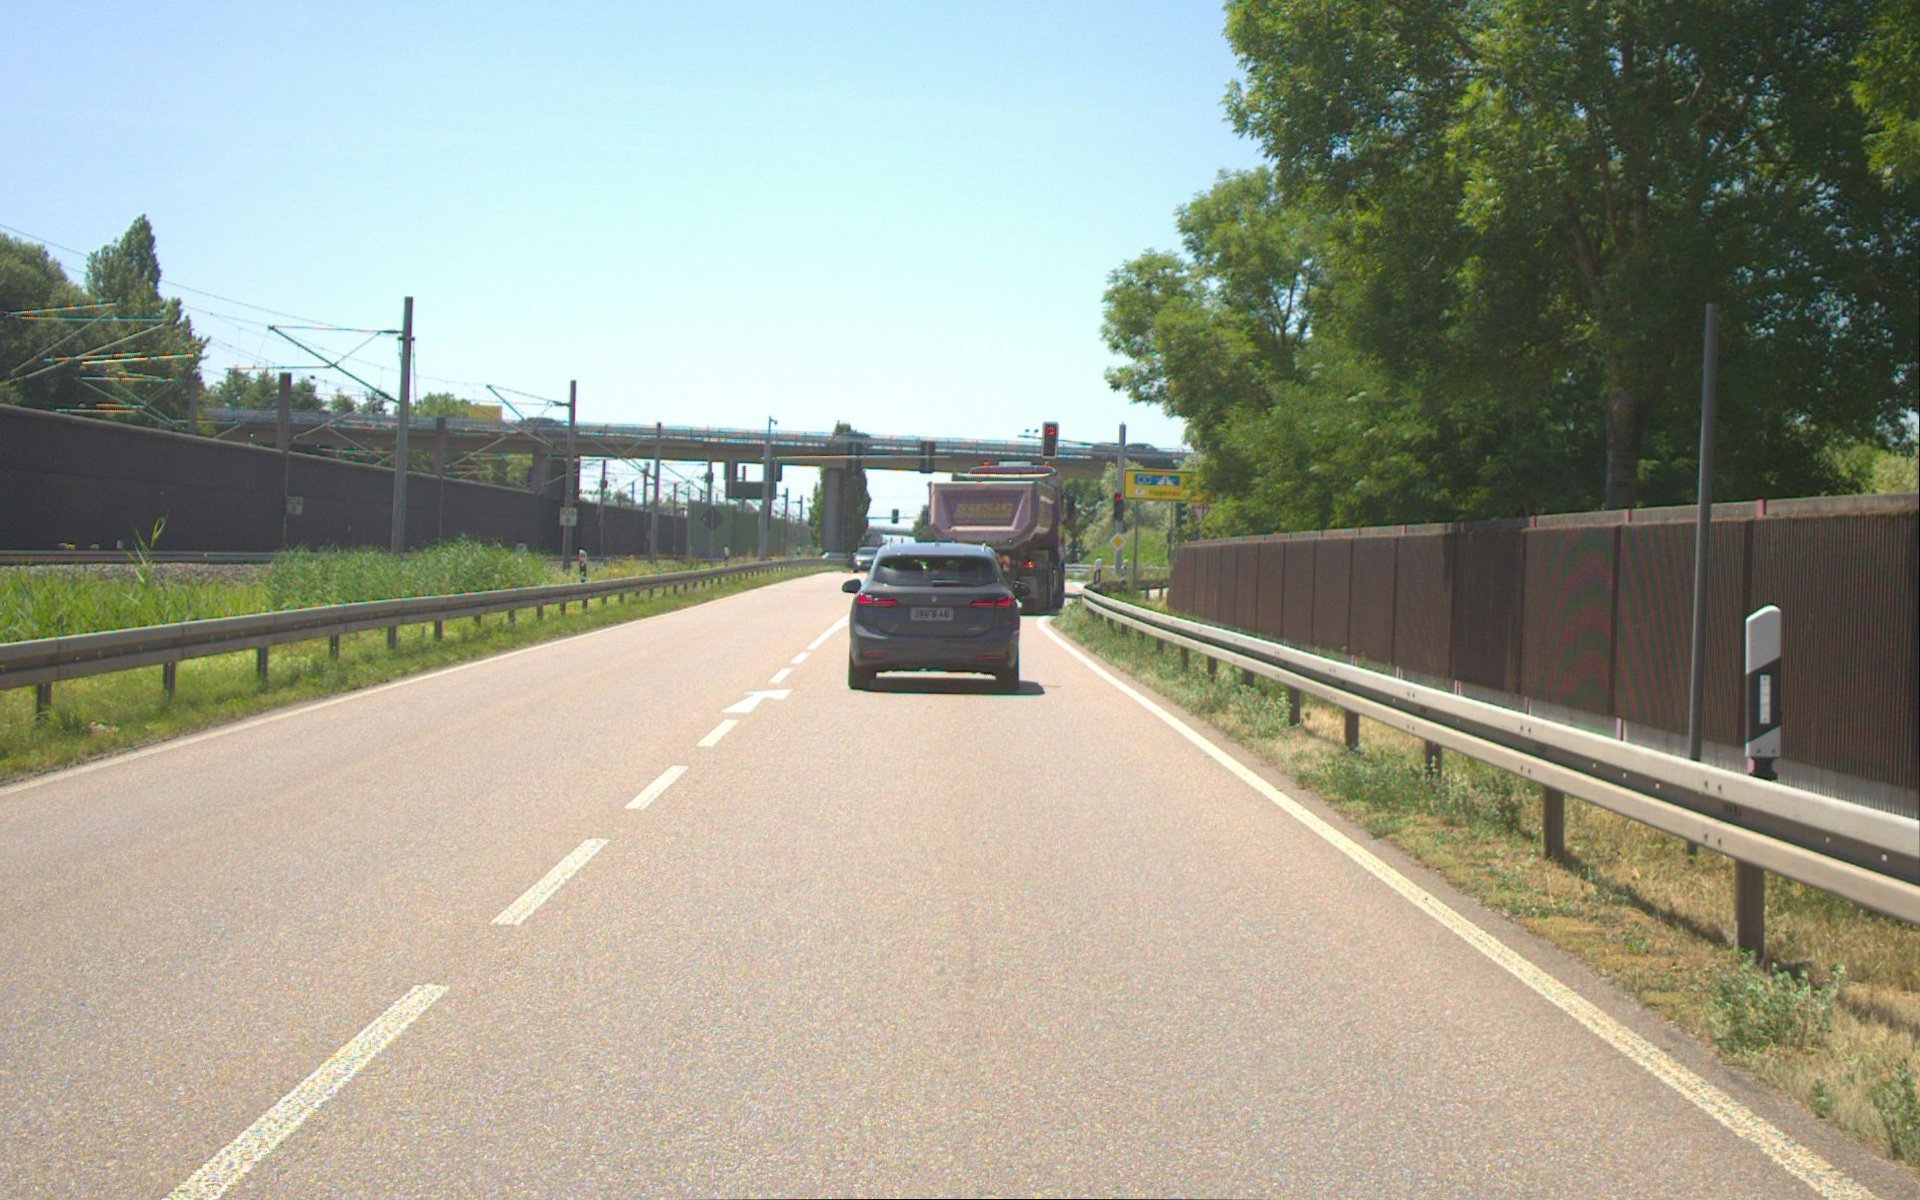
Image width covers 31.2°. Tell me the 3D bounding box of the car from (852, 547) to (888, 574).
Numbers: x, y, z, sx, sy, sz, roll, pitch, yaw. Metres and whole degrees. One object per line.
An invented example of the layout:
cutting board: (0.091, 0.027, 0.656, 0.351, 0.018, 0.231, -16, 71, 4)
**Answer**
car: (-5.215, -2.305, 199.068, 1.864, 1.480, 4.888, 1, 1, -3)

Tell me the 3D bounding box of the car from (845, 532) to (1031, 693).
car: (-0.295, 0.095, 37.394, 1.844, 1.617, 4.226, 1, 1, -2)

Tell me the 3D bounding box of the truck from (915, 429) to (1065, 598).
truck: (0.859, -2.063, 84.816, 2.834, 3.808, 11.883, 1, 1, 4)
